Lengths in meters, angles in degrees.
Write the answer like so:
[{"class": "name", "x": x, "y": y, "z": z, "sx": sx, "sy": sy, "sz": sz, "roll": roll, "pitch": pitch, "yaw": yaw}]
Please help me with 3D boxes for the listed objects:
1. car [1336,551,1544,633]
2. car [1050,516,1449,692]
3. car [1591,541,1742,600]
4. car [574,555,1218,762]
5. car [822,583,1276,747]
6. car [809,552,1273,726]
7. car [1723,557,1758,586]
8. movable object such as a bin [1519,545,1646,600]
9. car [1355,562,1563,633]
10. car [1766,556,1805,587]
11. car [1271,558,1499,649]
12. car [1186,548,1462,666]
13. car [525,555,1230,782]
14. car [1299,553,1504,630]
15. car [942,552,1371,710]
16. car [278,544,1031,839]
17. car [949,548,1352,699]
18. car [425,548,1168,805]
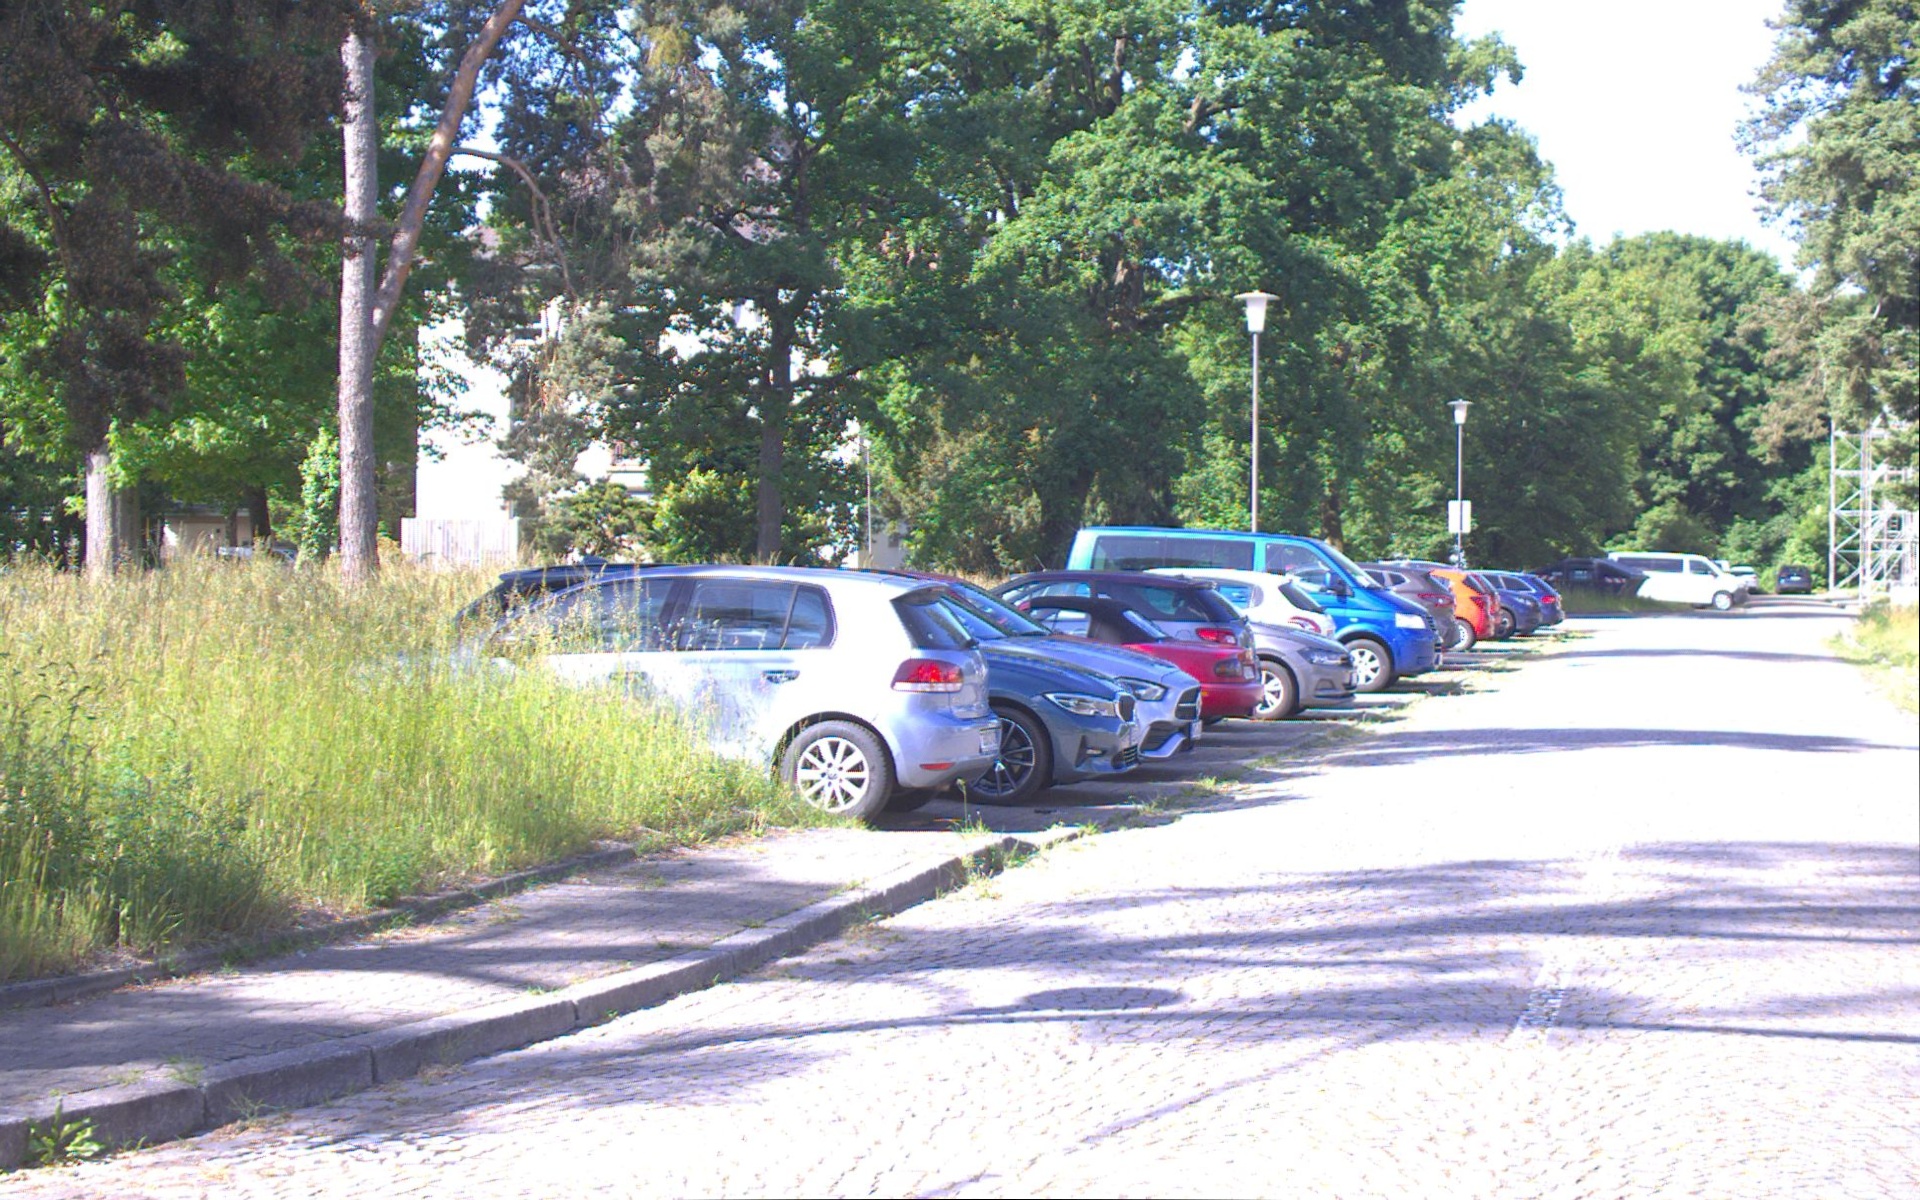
[{"class": "car", "x": 10.101, "y": -0.185, "z": 72.287, "sx": 4.137, "sy": 1.574, "sz": 1.883, "roll": 2, "pitch": 1, "yaw": 13}, {"class": "car", "x": 3.681, "y": 0.026, "z": 43.440, "sx": 4.720, "sy": 1.961, "sz": 2.004, "roll": 3, "pitch": 1, "yaw": 13}, {"class": "car", "x": 25.428, "y": -1.065, "z": 123.679, "sx": 5.237, "sy": 2.009, "sz": 1.949, "roll": 1, "pitch": 1, "yaw": 12}, {"class": "car", "x": -0.488, "y": 0.434, "z": 27.971, "sx": 4.868, "sy": 1.416, "sz": 1.937, "roll": 2, "pitch": 1, "yaw": 13}, {"class": "car", "x": 0.808, "y": 0.543, "z": 30.043, "sx": 3.633, "sy": 1.230, "sz": 1.759, "roll": 2, "pitch": 0, "yaw": 14}, {"class": "car", "x": 0.798, "y": 0.353, "z": 32.783, "sx": 4.079, "sy": 1.447, "sz": 1.820, "roll": 2, "pitch": 0, "yaw": 14}, {"class": "car", "x": 42.529, "y": -1.547, "z": 187.437, "sx": 1.813, "sy": 1.574, "sz": 4.132, "roll": 1, "pitch": 1, "yaw": 12}, {"class": "movable object such as a bin", "x": 20.189, "y": -0.901, "z": 111.460, "sx": 3.572, "sy": 1.739, "sz": 2.021, "roll": 1, "pitch": 1, "yaw": 31}, {"class": "car", "x": 11.165, "y": -0.073, "z": 76.847, "sx": 4.363, "sy": 1.440, "sz": 1.919, "roll": 2, "pitch": 1, "yaw": 16}, {"class": "car", "x": 44.939, "y": -1.572, "z": 187.185, "sx": 1.972, "sy": 1.662, "sz": 4.084, "roll": 1, "pitch": 1, "yaw": 12}, {"class": "car", "x": 7.719, "y": 0.043, "z": 62.295, "sx": 3.925, "sy": 1.456, "sz": 1.841, "roll": 2, "pitch": 2, "yaw": 11}, {"class": "car", "x": 5.548, "y": 0.082, "z": 52.199, "sx": 3.955, "sy": 1.562, "sz": 1.973, "roll": 3, "pitch": 2, "yaw": 11}, {"class": "car", "x": -0.573, "y": 0.473, "z": 25.587, "sx": 4.868, "sy": 1.416, "sz": 1.937, "roll": 2, "pitch": 0, "yaw": 13}, {"class": "car", "x": 9.013, "y": -0.195, "z": 70.080, "sx": 3.926, "sy": 1.428, "sz": 1.841, "roll": 2, "pitch": 1, "yaw": 14}, {"class": "car", "x": 2.053, "y": 0.289, "z": 35.453, "sx": 4.079, "sy": 1.420, "sz": 1.922, "roll": 2, "pitch": 1, "yaw": 14}, {"class": "car", "x": -1.752, "y": 0.487, "z": 20.383, "sx": 4.028, "sy": 1.478, "sz": 1.948, "roll": 2, "pitch": 2, "yaw": 11}, {"class": "car", "x": 2.153, "y": 0.232, "z": 38.386, "sx": 4.199, "sy": 1.470, "sz": 1.823, "roll": 2, "pitch": 1, "yaw": 13}, {"class": "car", "x": -1.027, "y": 0.468, "z": 22.903, "sx": 4.583, "sy": 1.447, "sz": 1.984, "roll": 2, "pitch": 1, "yaw": 10}]
